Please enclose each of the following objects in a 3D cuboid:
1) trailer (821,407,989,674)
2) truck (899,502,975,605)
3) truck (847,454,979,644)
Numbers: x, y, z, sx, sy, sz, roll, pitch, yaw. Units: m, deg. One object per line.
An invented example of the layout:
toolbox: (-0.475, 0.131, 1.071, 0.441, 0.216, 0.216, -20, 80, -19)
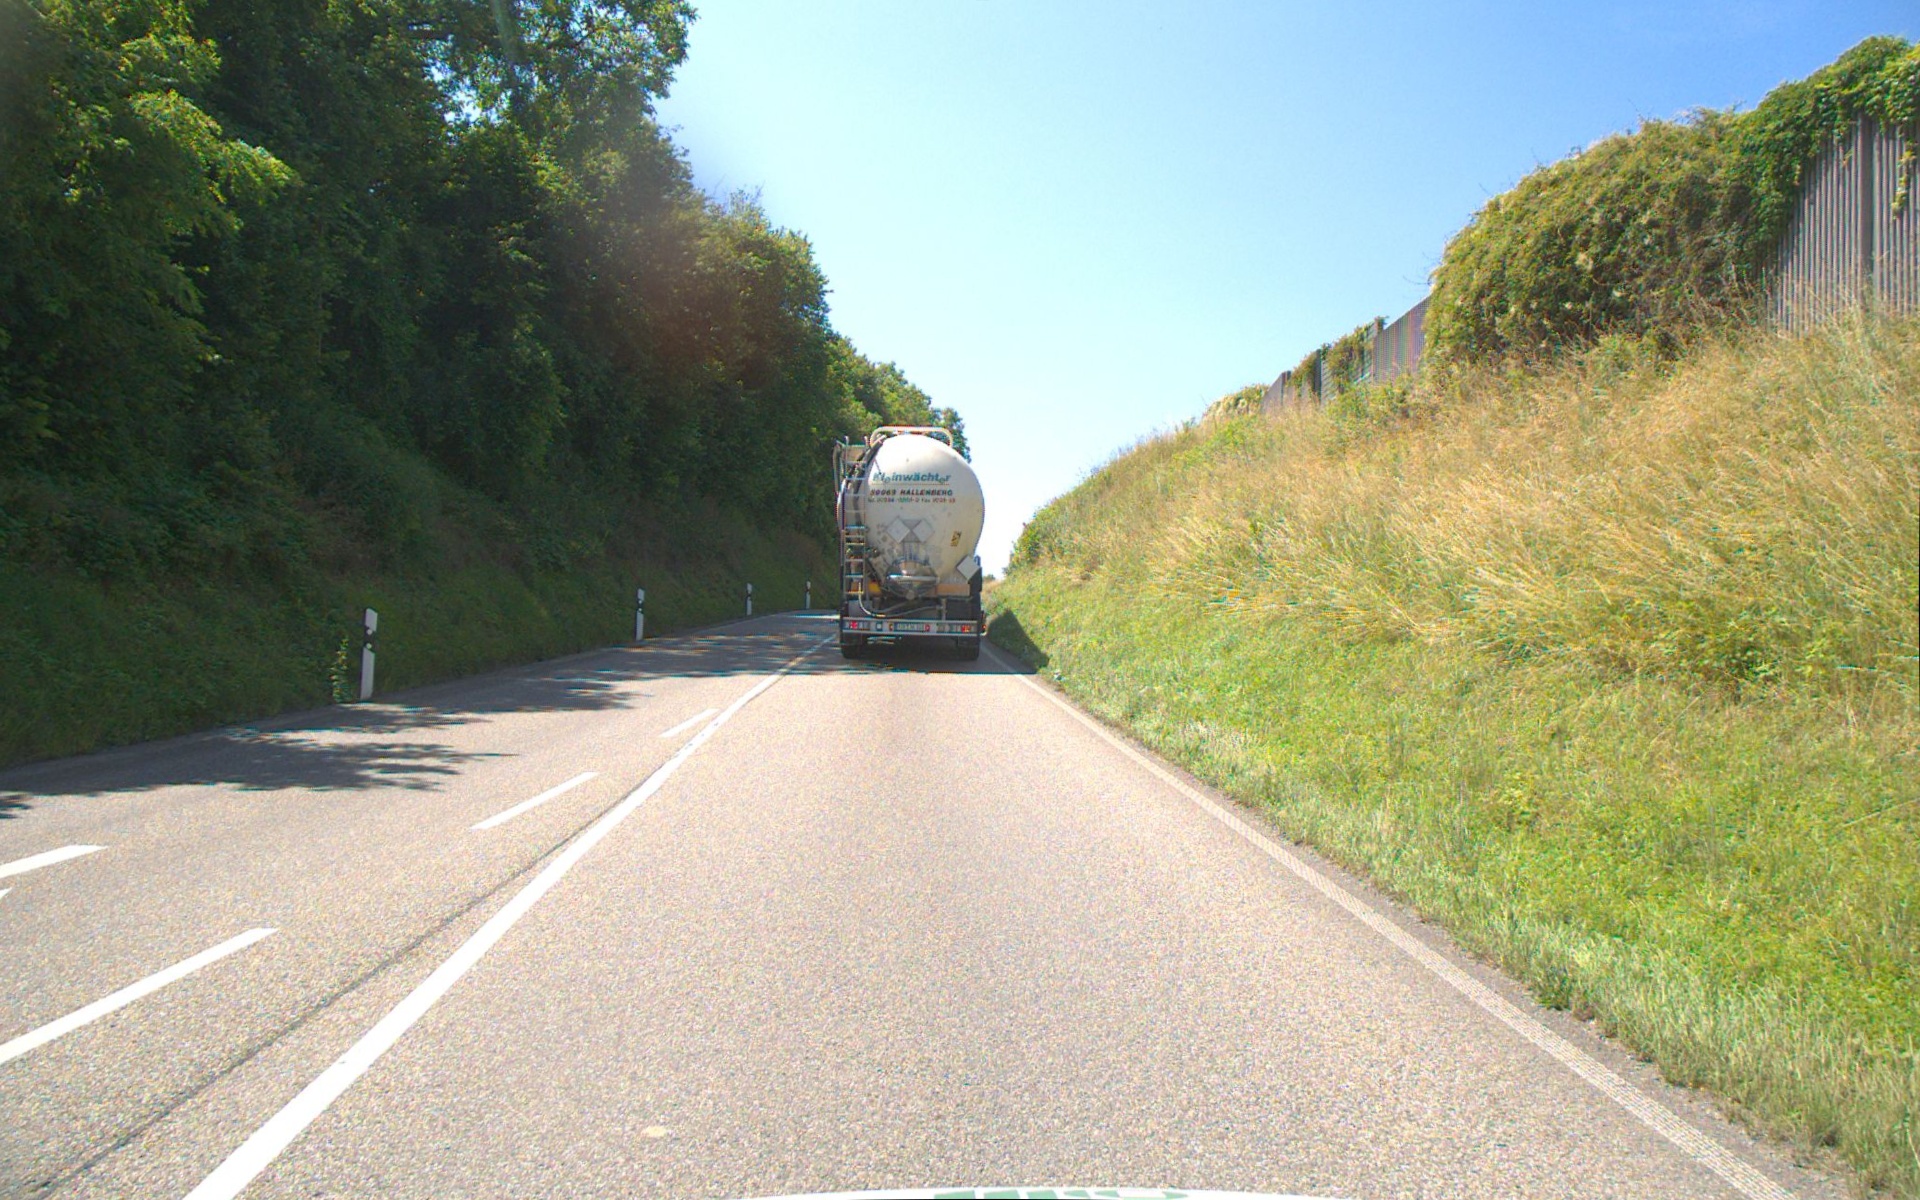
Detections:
trailer: (-0.931, -1.136, 32.796, 2.607, 4.261, 11.905, 2, 2, 0)
truck: (-0.981, -2.163, 79.871, 3.125, 4.384, 11.801, 4, 1, 0)
truck: (-0.954, -1.180, 38.703, 2.671, 3.998, 7.265, 1, 2, 1)
